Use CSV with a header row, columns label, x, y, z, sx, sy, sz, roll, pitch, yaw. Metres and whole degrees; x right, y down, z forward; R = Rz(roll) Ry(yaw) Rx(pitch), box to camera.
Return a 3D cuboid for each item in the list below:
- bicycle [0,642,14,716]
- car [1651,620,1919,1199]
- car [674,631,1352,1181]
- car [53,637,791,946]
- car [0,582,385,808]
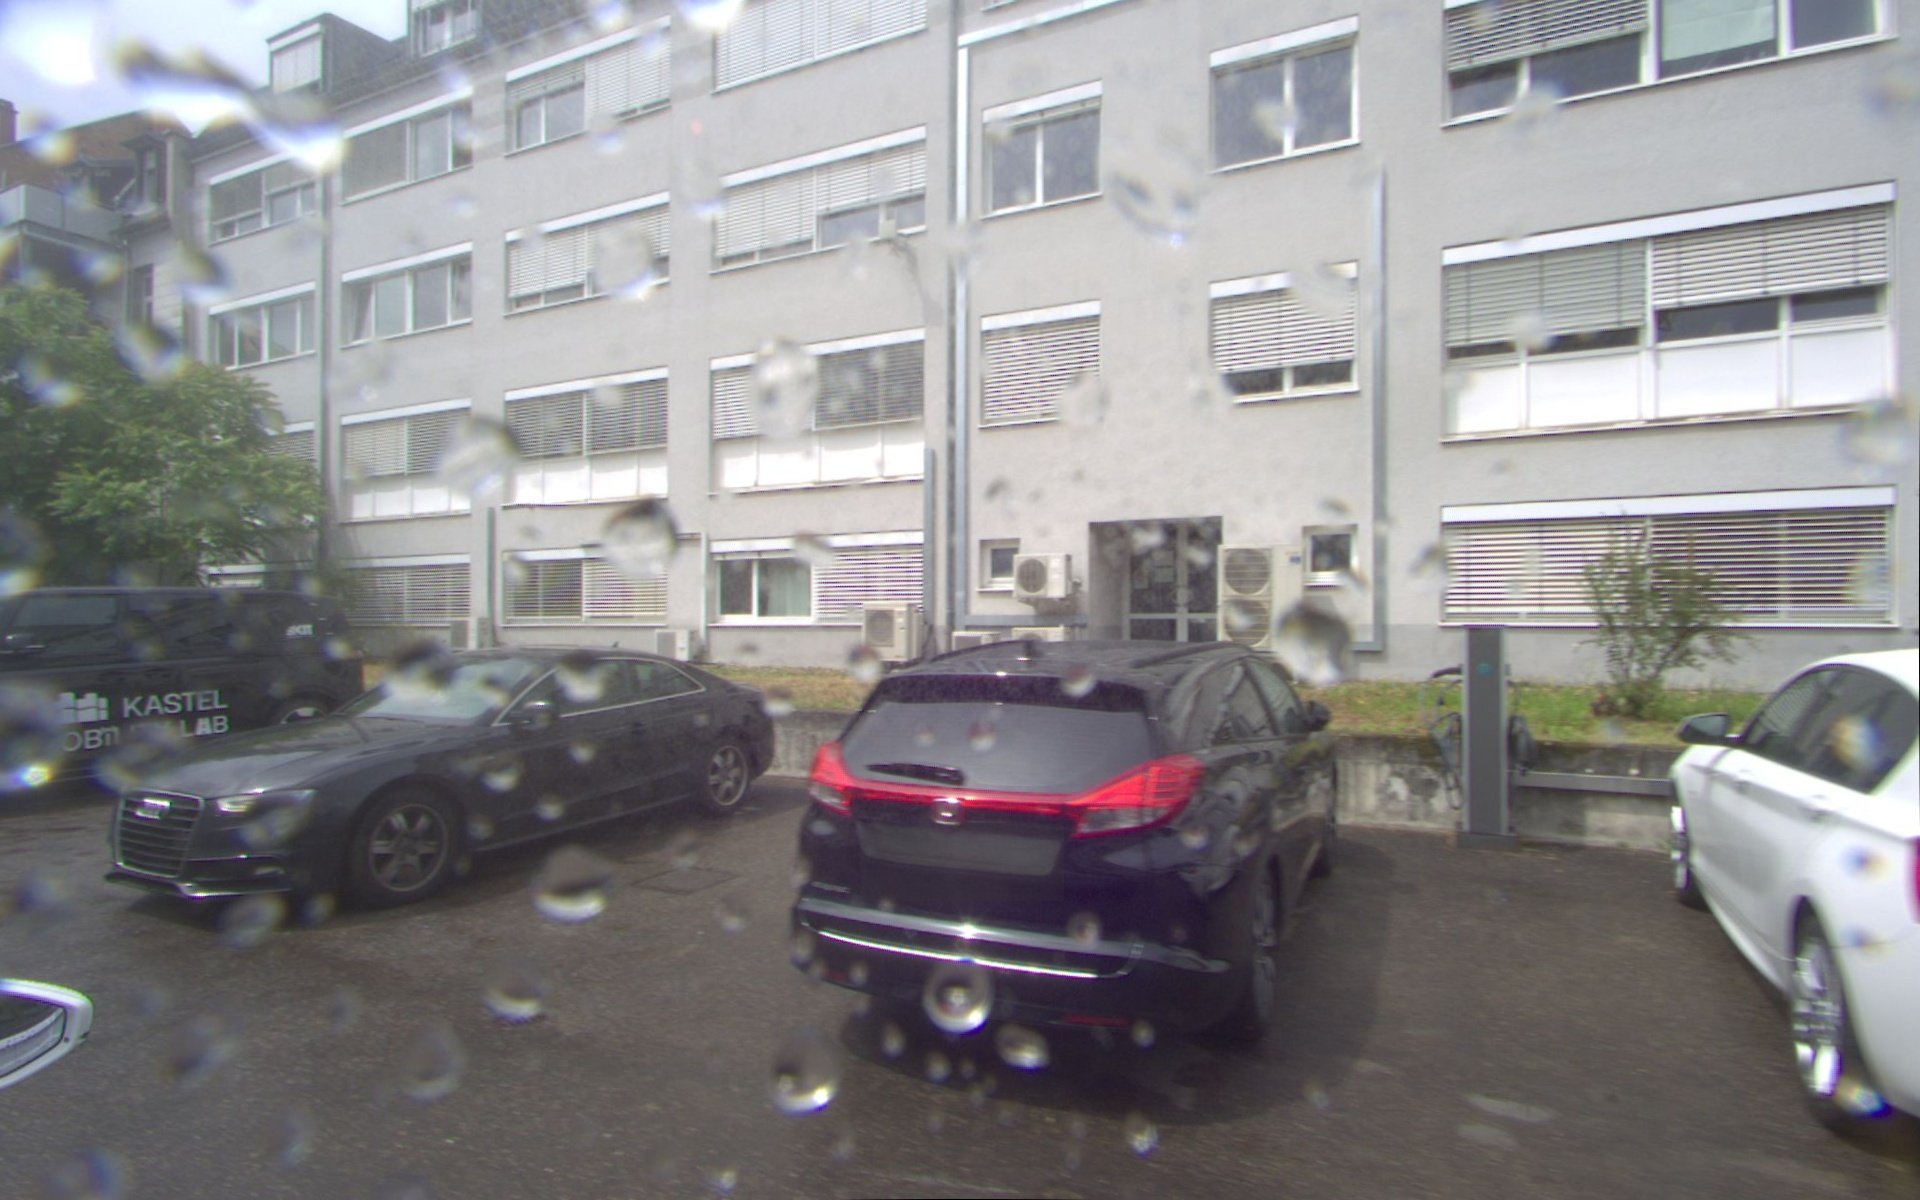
label,x,y,z,sx,sy,sz,roll,pitch,yaw
bicycle,-15.329,1.118,14.030,0.679,1.091,2.922,1,-3,30
car,3.848,0.818,3.594,1.805,1.474,4.094,0,-1,28
car,0.755,0.889,4.979,1.908,1.419,4.170,-1,-1,26
car,-3.224,0.986,7.065,1.830,1.366,4.353,0,-1,26
car,-8.407,0.799,9.583,2.077,1.857,4.708,0,-1,26
